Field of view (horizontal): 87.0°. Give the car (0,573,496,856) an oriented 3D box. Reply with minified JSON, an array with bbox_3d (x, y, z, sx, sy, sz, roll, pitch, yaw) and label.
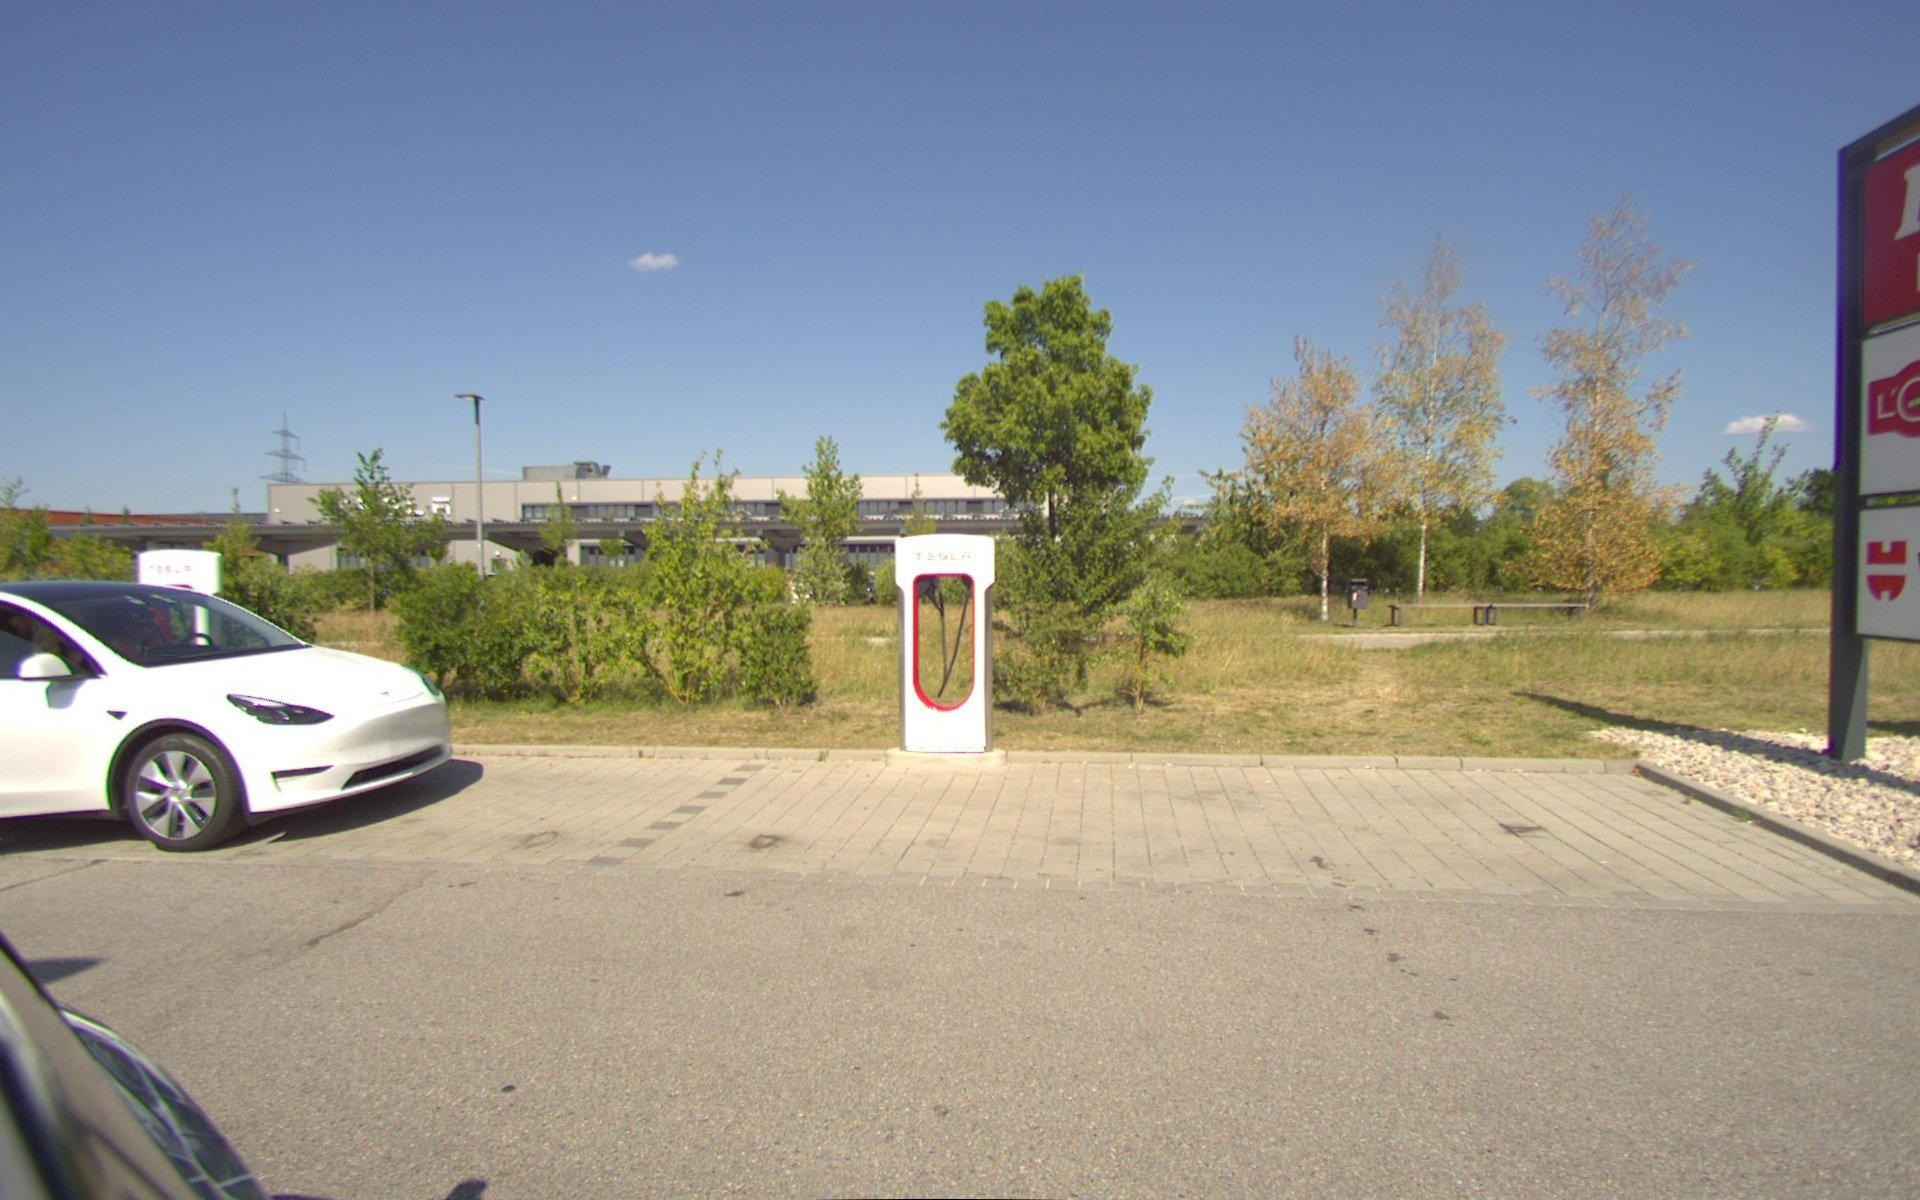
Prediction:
[{"bbox_3d":[-5.804,0.654,6.926,4.433,1.612,1.867,-1,2,6],"label":"car"}]

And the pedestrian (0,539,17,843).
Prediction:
[{"bbox_3d":[-6.292,0.557,5.854,1.025,1.813,0.734,-1,1,13],"label":"pedestrian"}]
